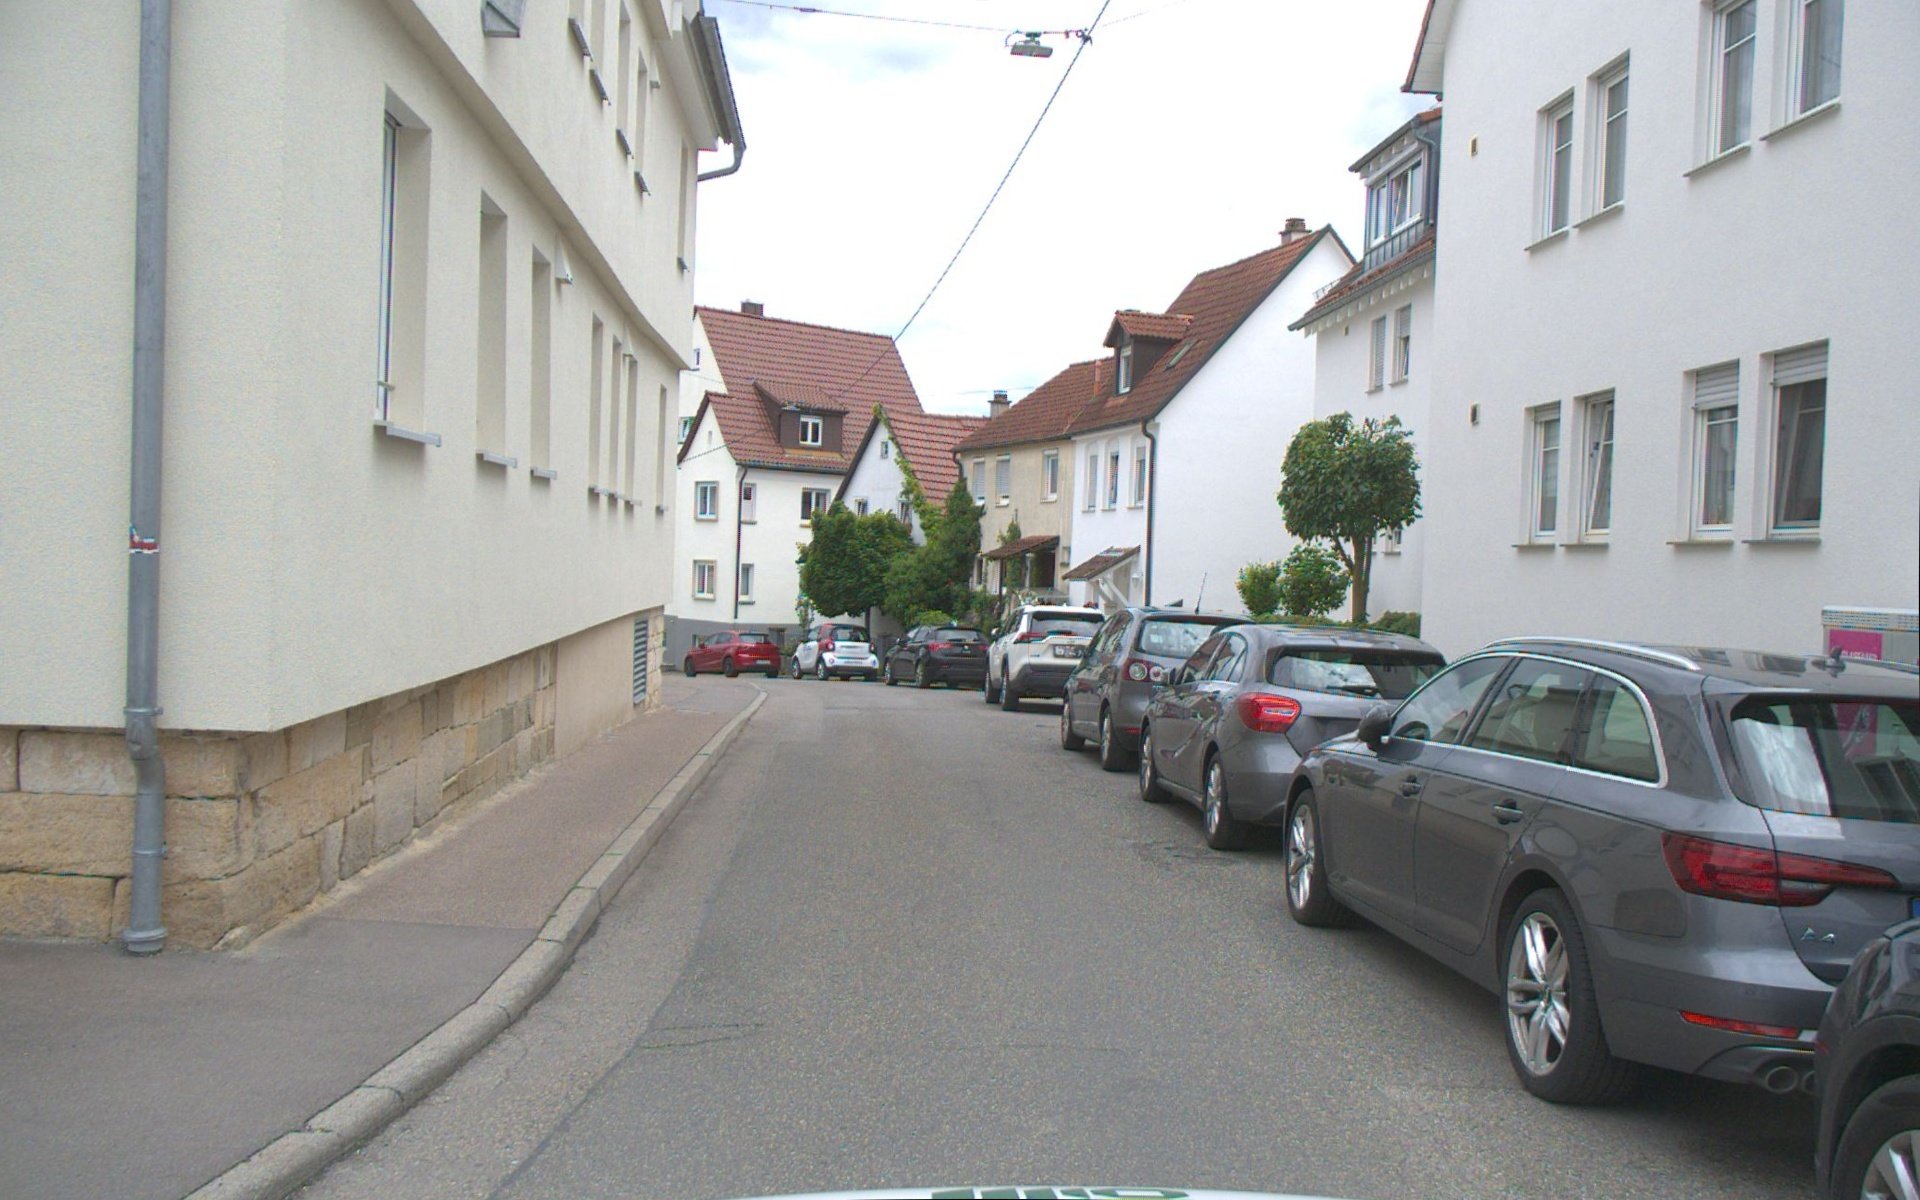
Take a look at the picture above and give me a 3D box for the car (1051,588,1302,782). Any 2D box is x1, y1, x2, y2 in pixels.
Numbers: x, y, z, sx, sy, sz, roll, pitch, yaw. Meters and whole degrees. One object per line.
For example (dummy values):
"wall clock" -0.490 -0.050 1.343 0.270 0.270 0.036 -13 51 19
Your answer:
"car" 2.089 0.791 17.053 1.702 1.638 3.996 4 -1 -4

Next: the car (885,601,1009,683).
"car" -0.353 0.973 37.738 1.960 1.743 3.985 1 -2 -14

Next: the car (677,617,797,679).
"car" -7.020 1.525 51.800 1.979 1.713 3.947 -5 1 -37

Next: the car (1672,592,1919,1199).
"car" 2.704 0.879 1.888 1.718 1.656 4.534 3 1 -1

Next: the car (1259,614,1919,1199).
"car" 2.650 0.803 6.511 1.880 1.434 4.653 0 0 -3

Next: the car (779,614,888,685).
"car" -3.615 1.359 46.688 1.935 1.743 3.974 2 1 -22

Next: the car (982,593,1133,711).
"car" 1.505 0.813 27.087 1.837 1.743 4.143 2 -1 -5

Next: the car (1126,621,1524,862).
"car" 2.377 0.867 11.844 1.761 1.376 4.072 2 -1 -3
